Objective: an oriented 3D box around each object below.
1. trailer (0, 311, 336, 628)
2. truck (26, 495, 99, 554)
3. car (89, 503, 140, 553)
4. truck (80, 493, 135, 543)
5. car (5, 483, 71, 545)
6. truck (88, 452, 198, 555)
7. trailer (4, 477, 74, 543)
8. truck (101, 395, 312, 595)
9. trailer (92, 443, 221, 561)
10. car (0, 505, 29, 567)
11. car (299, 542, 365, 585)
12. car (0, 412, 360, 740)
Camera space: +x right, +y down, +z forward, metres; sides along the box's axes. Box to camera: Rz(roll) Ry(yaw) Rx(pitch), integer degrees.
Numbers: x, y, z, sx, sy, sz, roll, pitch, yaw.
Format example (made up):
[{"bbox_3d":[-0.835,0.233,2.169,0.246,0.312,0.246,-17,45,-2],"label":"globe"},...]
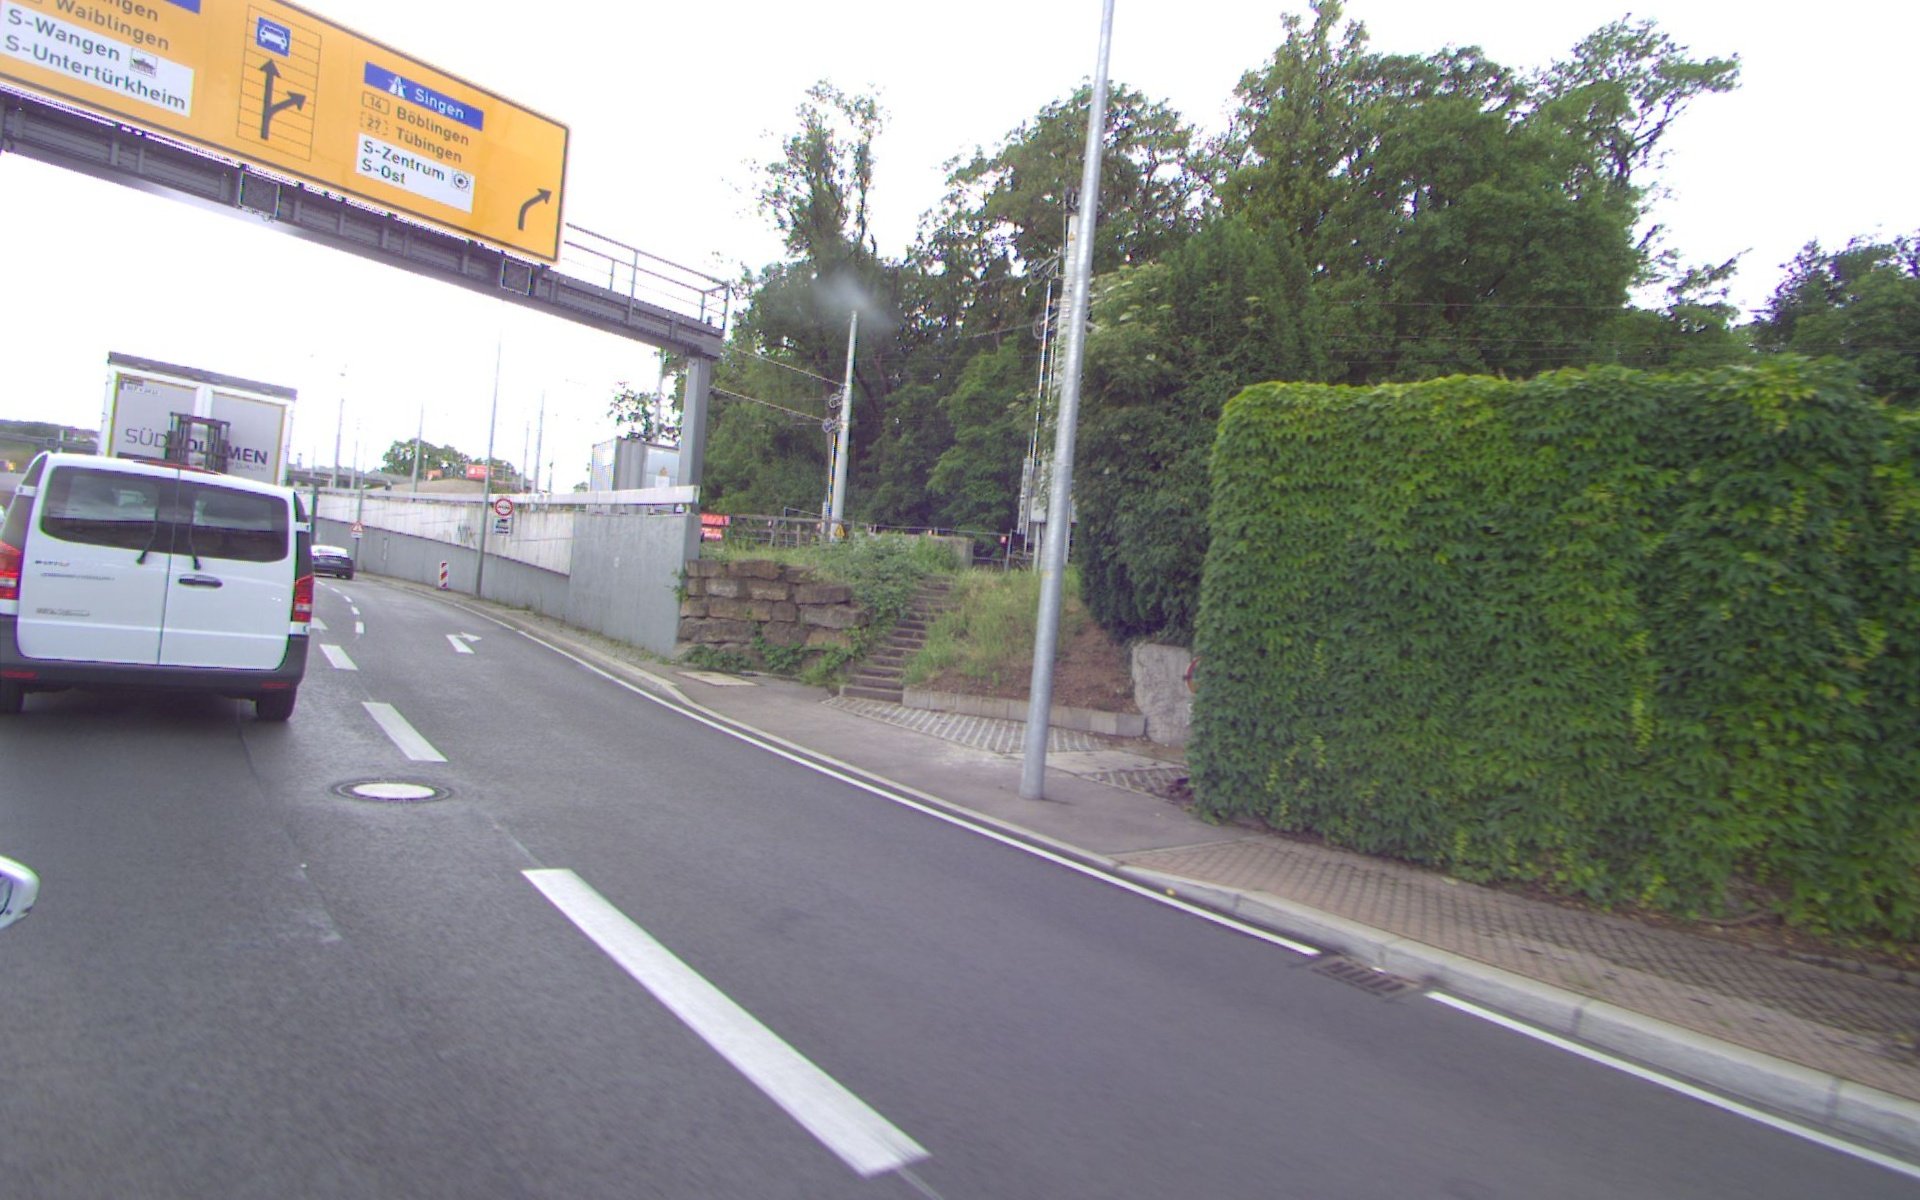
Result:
[{"bbox_3d":[-15.255,-2.106,19.906,3.705,4.190,10.875,8,-2,-36],"label":"trailer"},{"bbox_3d":[-37.921,-3.166,42.520,1.990,2.052,3.788,11,-4,-42],"label":"truck"},{"bbox_3d":[-55.832,-4.781,66.372,2.069,2.805,7.239,8,-2,-42],"label":"car"},{"bbox_3d":[-62.443,-5.933,73.614,2.639,3.224,7.340,6,-1,-42],"label":"truck"},{"bbox_3d":[-47.451,-4.379,51.736,2.055,2.656,5.870,11,-4,-44],"label":"car"},{"bbox_3d":[-44.859,-5.184,55.146,3.794,4.686,7.353,8,-2,-43],"label":"truck"},{"bbox_3d":[-44.621,-4.322,48.712,2.100,2.667,4.751,11,-4,-44],"label":"trailer"},{"bbox_3d":[-21.622,-2.732,28.462,3.711,4.190,10.859,8,-2,-41],"label":"truck"},{"bbox_3d":[-40.193,-4.756,50.067,3.794,4.686,11.969,8,-2,-43],"label":"trailer"},{"bbox_3d":[-23.980,-1.674,24.357,1.710,1.414,4.300,9,-3,-39],"label":"car"},{"bbox_3d":[-29.700,-1.747,47.517,1.887,1.645,3.954,9,-3,-41],"label":"car"},{"bbox_3d":[-7.085,-0.206,8.825,1.987,2.013,5.138,8,-2,-42],"label":"car"}]
